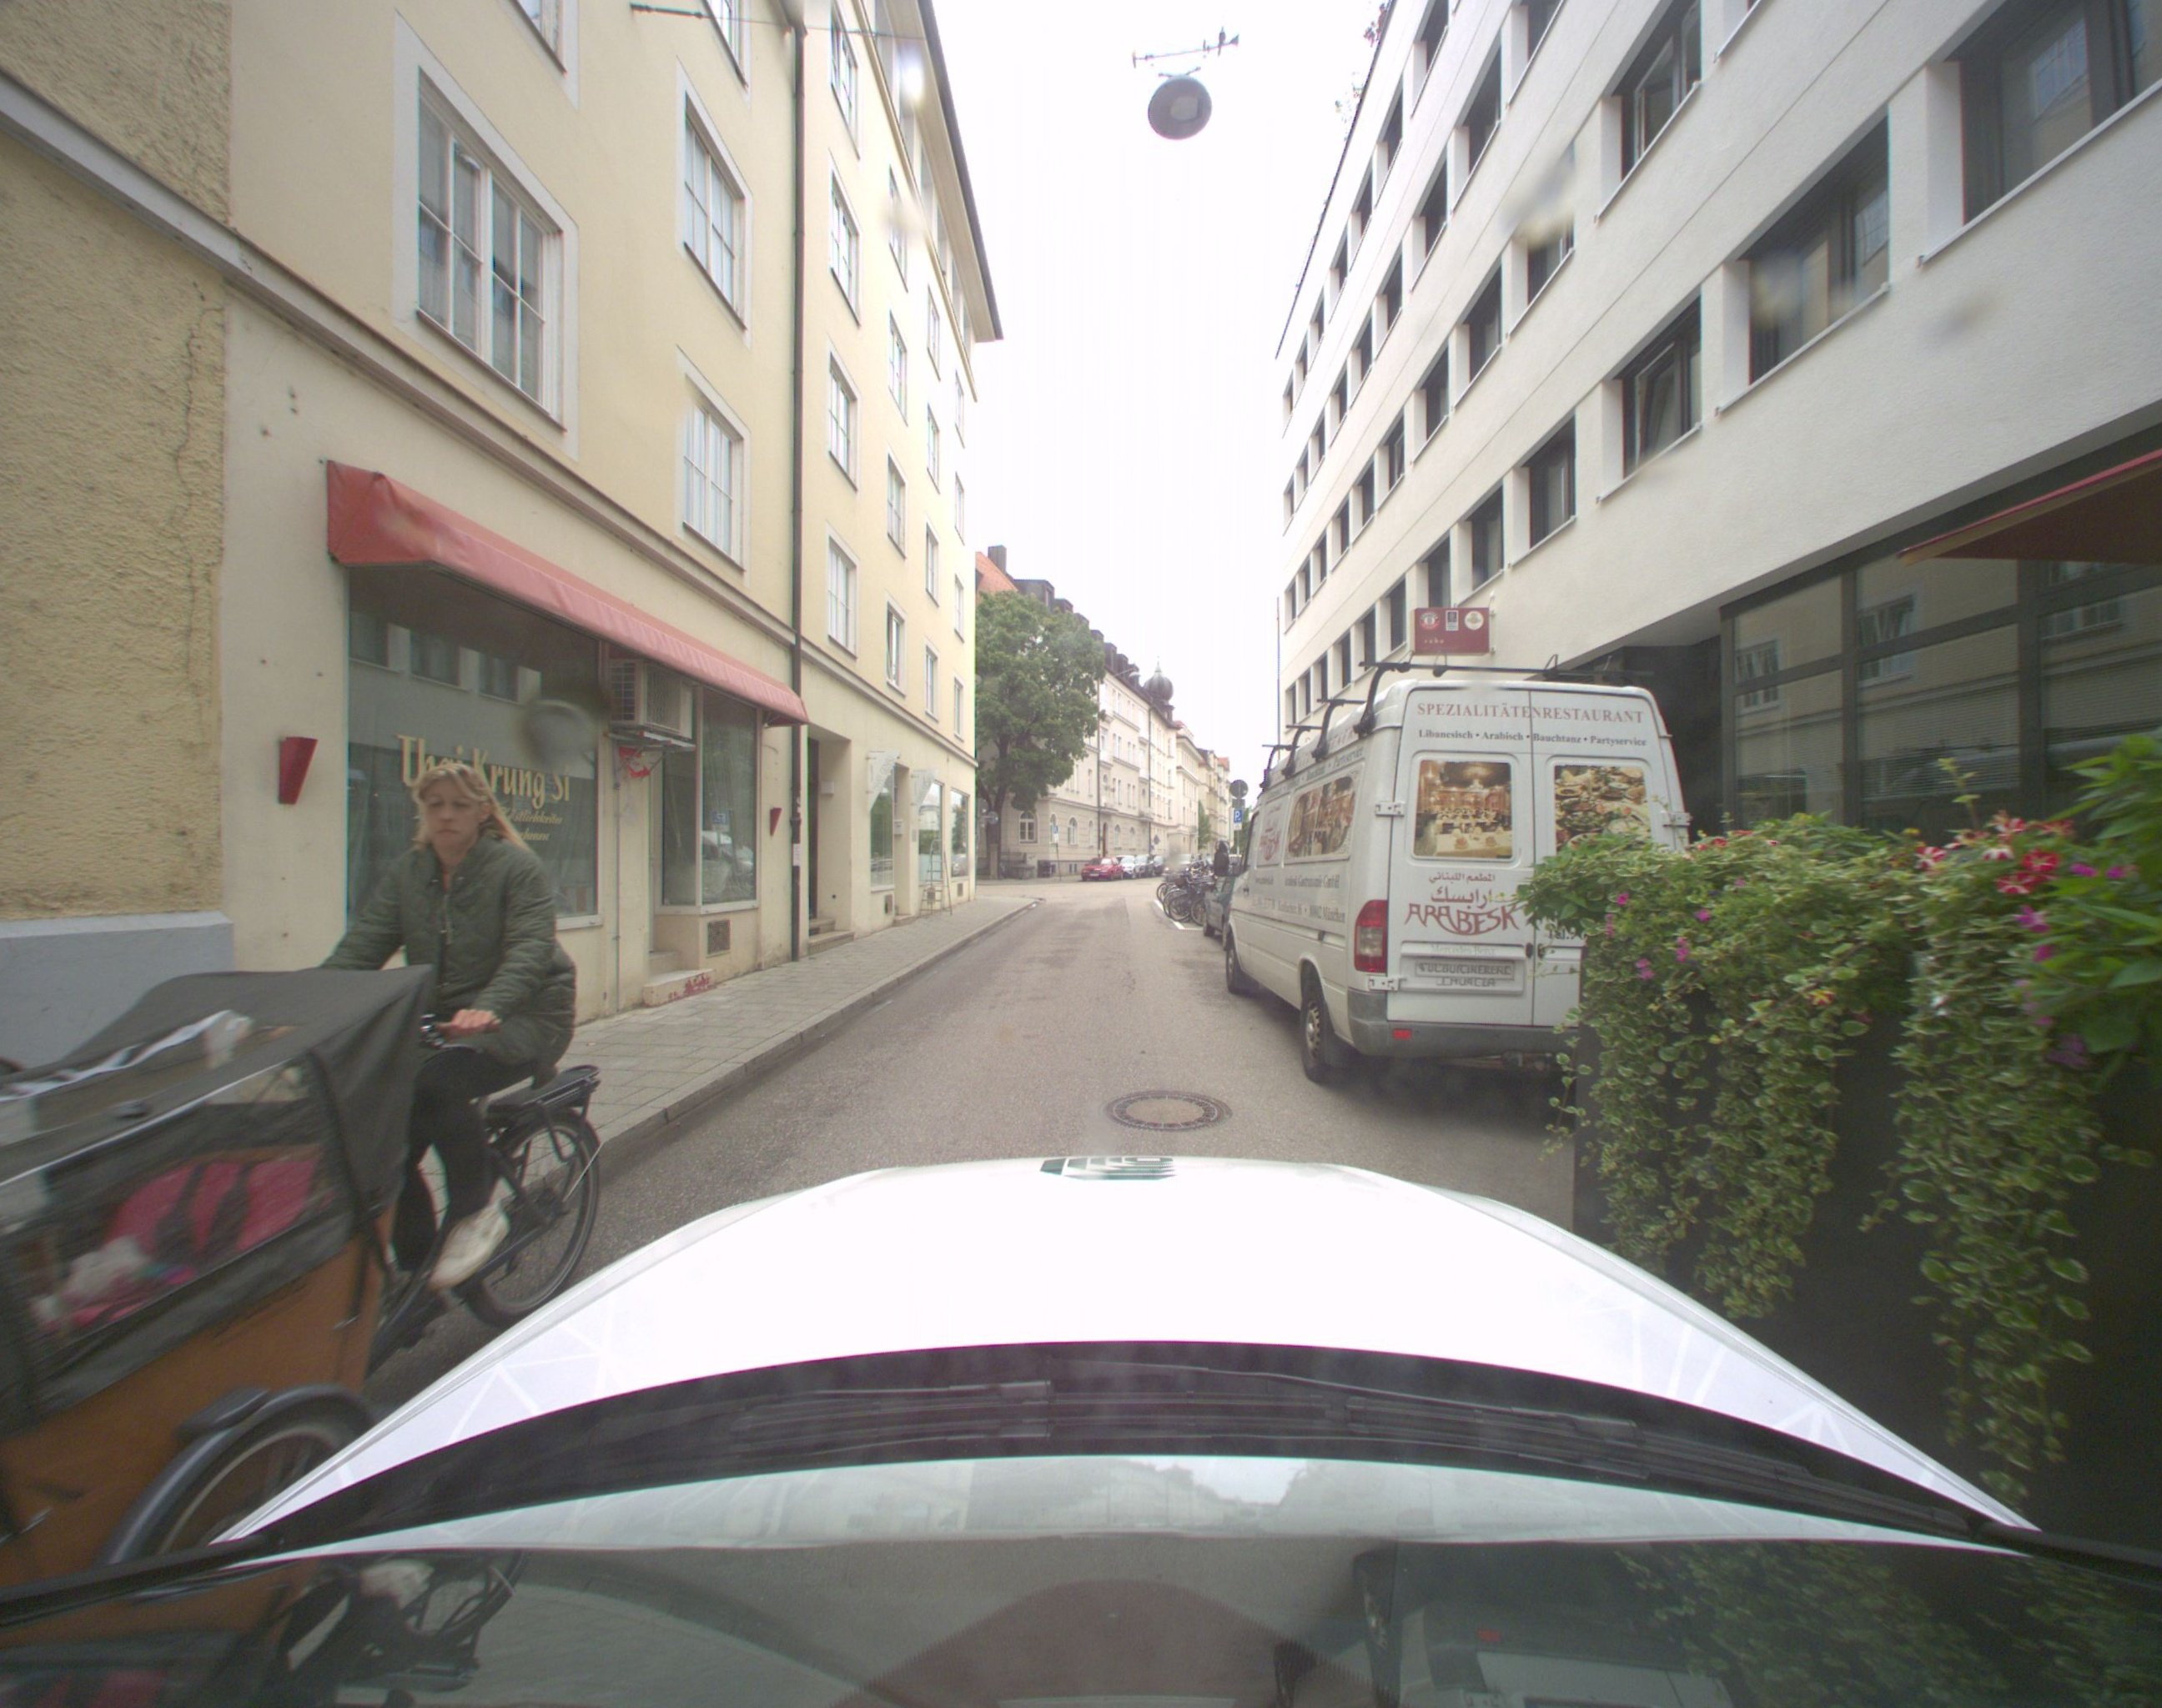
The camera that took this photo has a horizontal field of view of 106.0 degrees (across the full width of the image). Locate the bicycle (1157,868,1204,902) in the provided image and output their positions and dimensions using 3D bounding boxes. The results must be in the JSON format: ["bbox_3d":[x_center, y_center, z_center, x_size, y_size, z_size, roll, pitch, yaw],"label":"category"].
[{"bbox_3d":[3.179,0.982,26.113,1.449,1.069,0.462,0,0,-6],"label":"bicycle"}]

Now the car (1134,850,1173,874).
[{"bbox_3d":[5.535,0.570,61.677,1.978,1.738,4.542,0,0,17],"label":"car"}]

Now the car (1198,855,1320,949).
[{"bbox_3d":[3.008,0.749,14.408,1.573,1.464,3.555,0,0,3],"label":"car"}]

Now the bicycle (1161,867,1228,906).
[{"bbox_3d":[3.227,0.914,23.195,1.868,1.080,0.402,0,1,-1],"label":"bicycle"}]

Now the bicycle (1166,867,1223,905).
[{"bbox_3d":[3.348,0.947,24.070,1.608,1.080,0.378,0,1,-1],"label":"bicycle"}]

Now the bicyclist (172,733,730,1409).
[{"bbox_3d":[-1.867,0.557,2.658,0.923,1.721,1.099,-1,0,0],"label":"bicyclist"}]

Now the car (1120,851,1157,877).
[{"bbox_3d":[4.049,0.685,56.692,1.929,1.702,4.014,0,0,13],"label":"car"}]

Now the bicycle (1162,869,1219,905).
[{"bbox_3d":[3.298,0.989,24.457,1.669,1.080,0.336,0,1,-1],"label":"bicycle"}]

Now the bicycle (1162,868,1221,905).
[{"bbox_3d":[3.373,0.991,24.869,1.735,1.080,0.452,0,1,-1],"label":"bicycle"}]

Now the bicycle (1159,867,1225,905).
[{"bbox_3d":[3.210,0.926,23.635,1.868,1.080,0.408,0,1,-1],"label":"bicycle"}]

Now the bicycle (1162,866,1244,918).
[{"bbox_3d":[2.859,0.889,19.217,1.867,1.204,0.488,0,1,0],"label":"bicycle"}]

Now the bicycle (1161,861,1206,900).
[{"bbox_3d":[3.410,0.869,27.116,1.450,1.285,0.446,0,0,3],"label":"bicycle"}]

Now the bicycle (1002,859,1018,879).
[{"bbox_3d":[-4.009,0.823,46.143,0.491,1.052,1.831,0,2,8],"label":"bicycle"}]

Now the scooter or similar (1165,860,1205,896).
[{"bbox_3d":[3.548,0.823,27.909,1.346,1.210,0.418,0,0,4],"label":"scooter or similar"}]

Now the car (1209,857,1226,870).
[{"bbox_3d":[16.871,1.108,100.308,1.807,1.574,4.015,0,0,13],"label":"car"}]

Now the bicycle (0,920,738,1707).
[{"bbox_3d":[-1.869,0.887,2.037,0.928,1.257,2.414,-1,-1,1],"label":"bicycle"}]

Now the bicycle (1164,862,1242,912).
[{"bbox_3d":[3.078,0.830,20.625,1.867,1.204,0.579,-1,0,0],"label":"bicycle"}]

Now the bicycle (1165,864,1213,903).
[{"bbox_3d":[3.396,0.914,25.654,1.449,1.207,0.394,0,0,-6],"label":"bicycle"}]

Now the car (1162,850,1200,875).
[{"bbox_3d":[6.828,0.550,55.153,1.943,1.607,4.326,-1,0,15],"label":"car"}]

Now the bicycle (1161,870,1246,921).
[{"bbox_3d":[2.808,0.942,18.697,1.867,1.108,0.488,1,1,0],"label":"bicycle"}]

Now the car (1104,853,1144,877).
[{"bbox_3d":[2.779,0.691,52.050,1.981,1.473,4.231,0,0,11],"label":"car"}]

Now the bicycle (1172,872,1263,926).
[{"bbox_3d":[2.956,0.977,17.693,1.867,1.079,0.488,2,1,0],"label":"bicycle"}]

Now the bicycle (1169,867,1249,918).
[{"bbox_3d":[3.113,0.928,19.891,1.867,1.157,0.565,1,1,0],"label":"bicycle"}]

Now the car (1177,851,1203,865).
[{"bbox_3d":[10.445,0.373,77.754,1.892,1.329,4.018,0,0,17],"label":"car"}]

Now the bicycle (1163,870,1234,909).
[{"bbox_3d":[3.234,0.968,22.495,1.868,1.052,0.564,0,-2,-1],"label":"bicycle"}]

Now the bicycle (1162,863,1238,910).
[{"bbox_3d":[3.103,0.835,21.253,1.887,1.170,0.566,-1,0,-1],"label":"bicycle"}]

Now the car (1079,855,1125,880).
[{"bbox_3d":[1.265,0.747,47.056,1.718,1.378,4.243,0,0,14],"label":"car"}]

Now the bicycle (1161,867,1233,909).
[{"bbox_3d":[3.105,0.897,21.797,1.868,1.095,0.440,0,1,-1],"label":"bicycle"}]

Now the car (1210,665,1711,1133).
[{"bbox_3d":[2.531,0.237,7.414,1.913,2.506,5.999,1,0,2],"label":"car"}]

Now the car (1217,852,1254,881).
[{"bbox_3d":[9.527,0.736,49.944,1.806,1.636,4.307,2,0,16],"label":"car"}]
